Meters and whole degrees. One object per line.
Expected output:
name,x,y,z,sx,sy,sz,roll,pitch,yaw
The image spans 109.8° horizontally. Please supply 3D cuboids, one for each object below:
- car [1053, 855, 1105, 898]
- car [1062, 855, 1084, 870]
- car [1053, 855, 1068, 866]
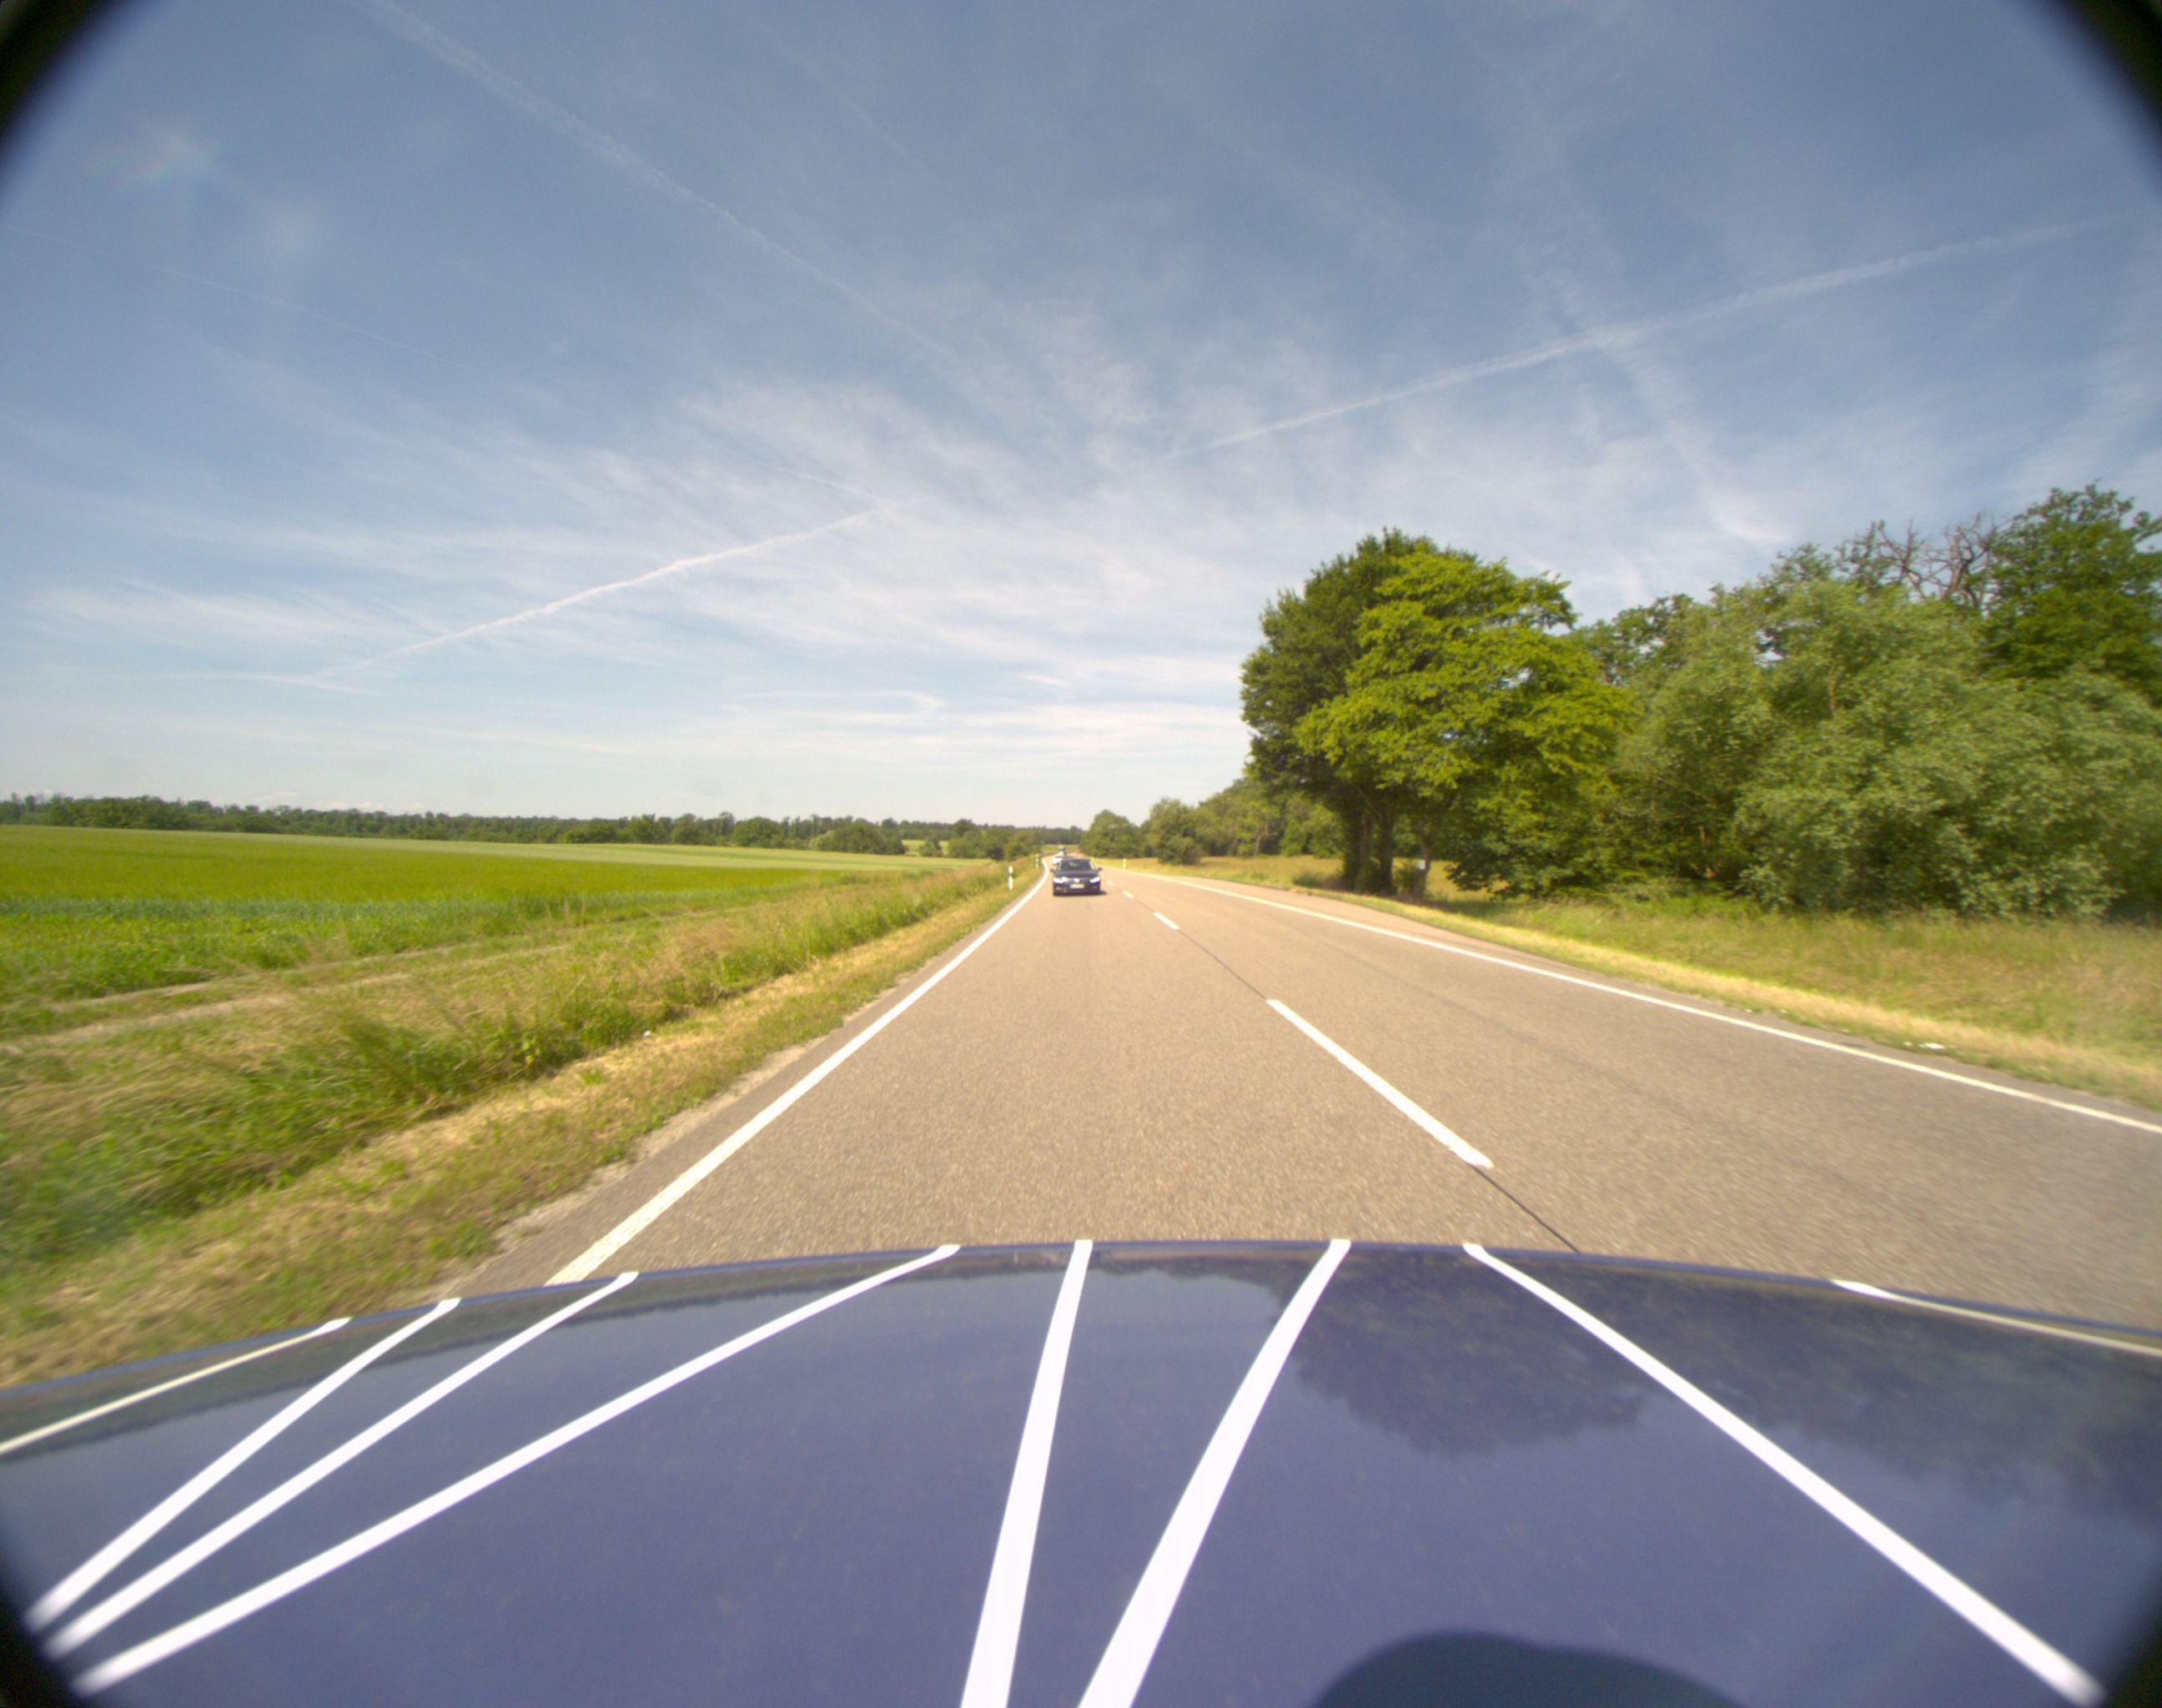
car,-0.154,0.841,30.474,1.822,1.501,4.499,-2,0,-3
car,-0.847,0.819,75.830,1.929,1.501,4.289,0,0,-5
car,-2.880,0.861,105.345,1.929,1.501,4.290,1,0,-4
